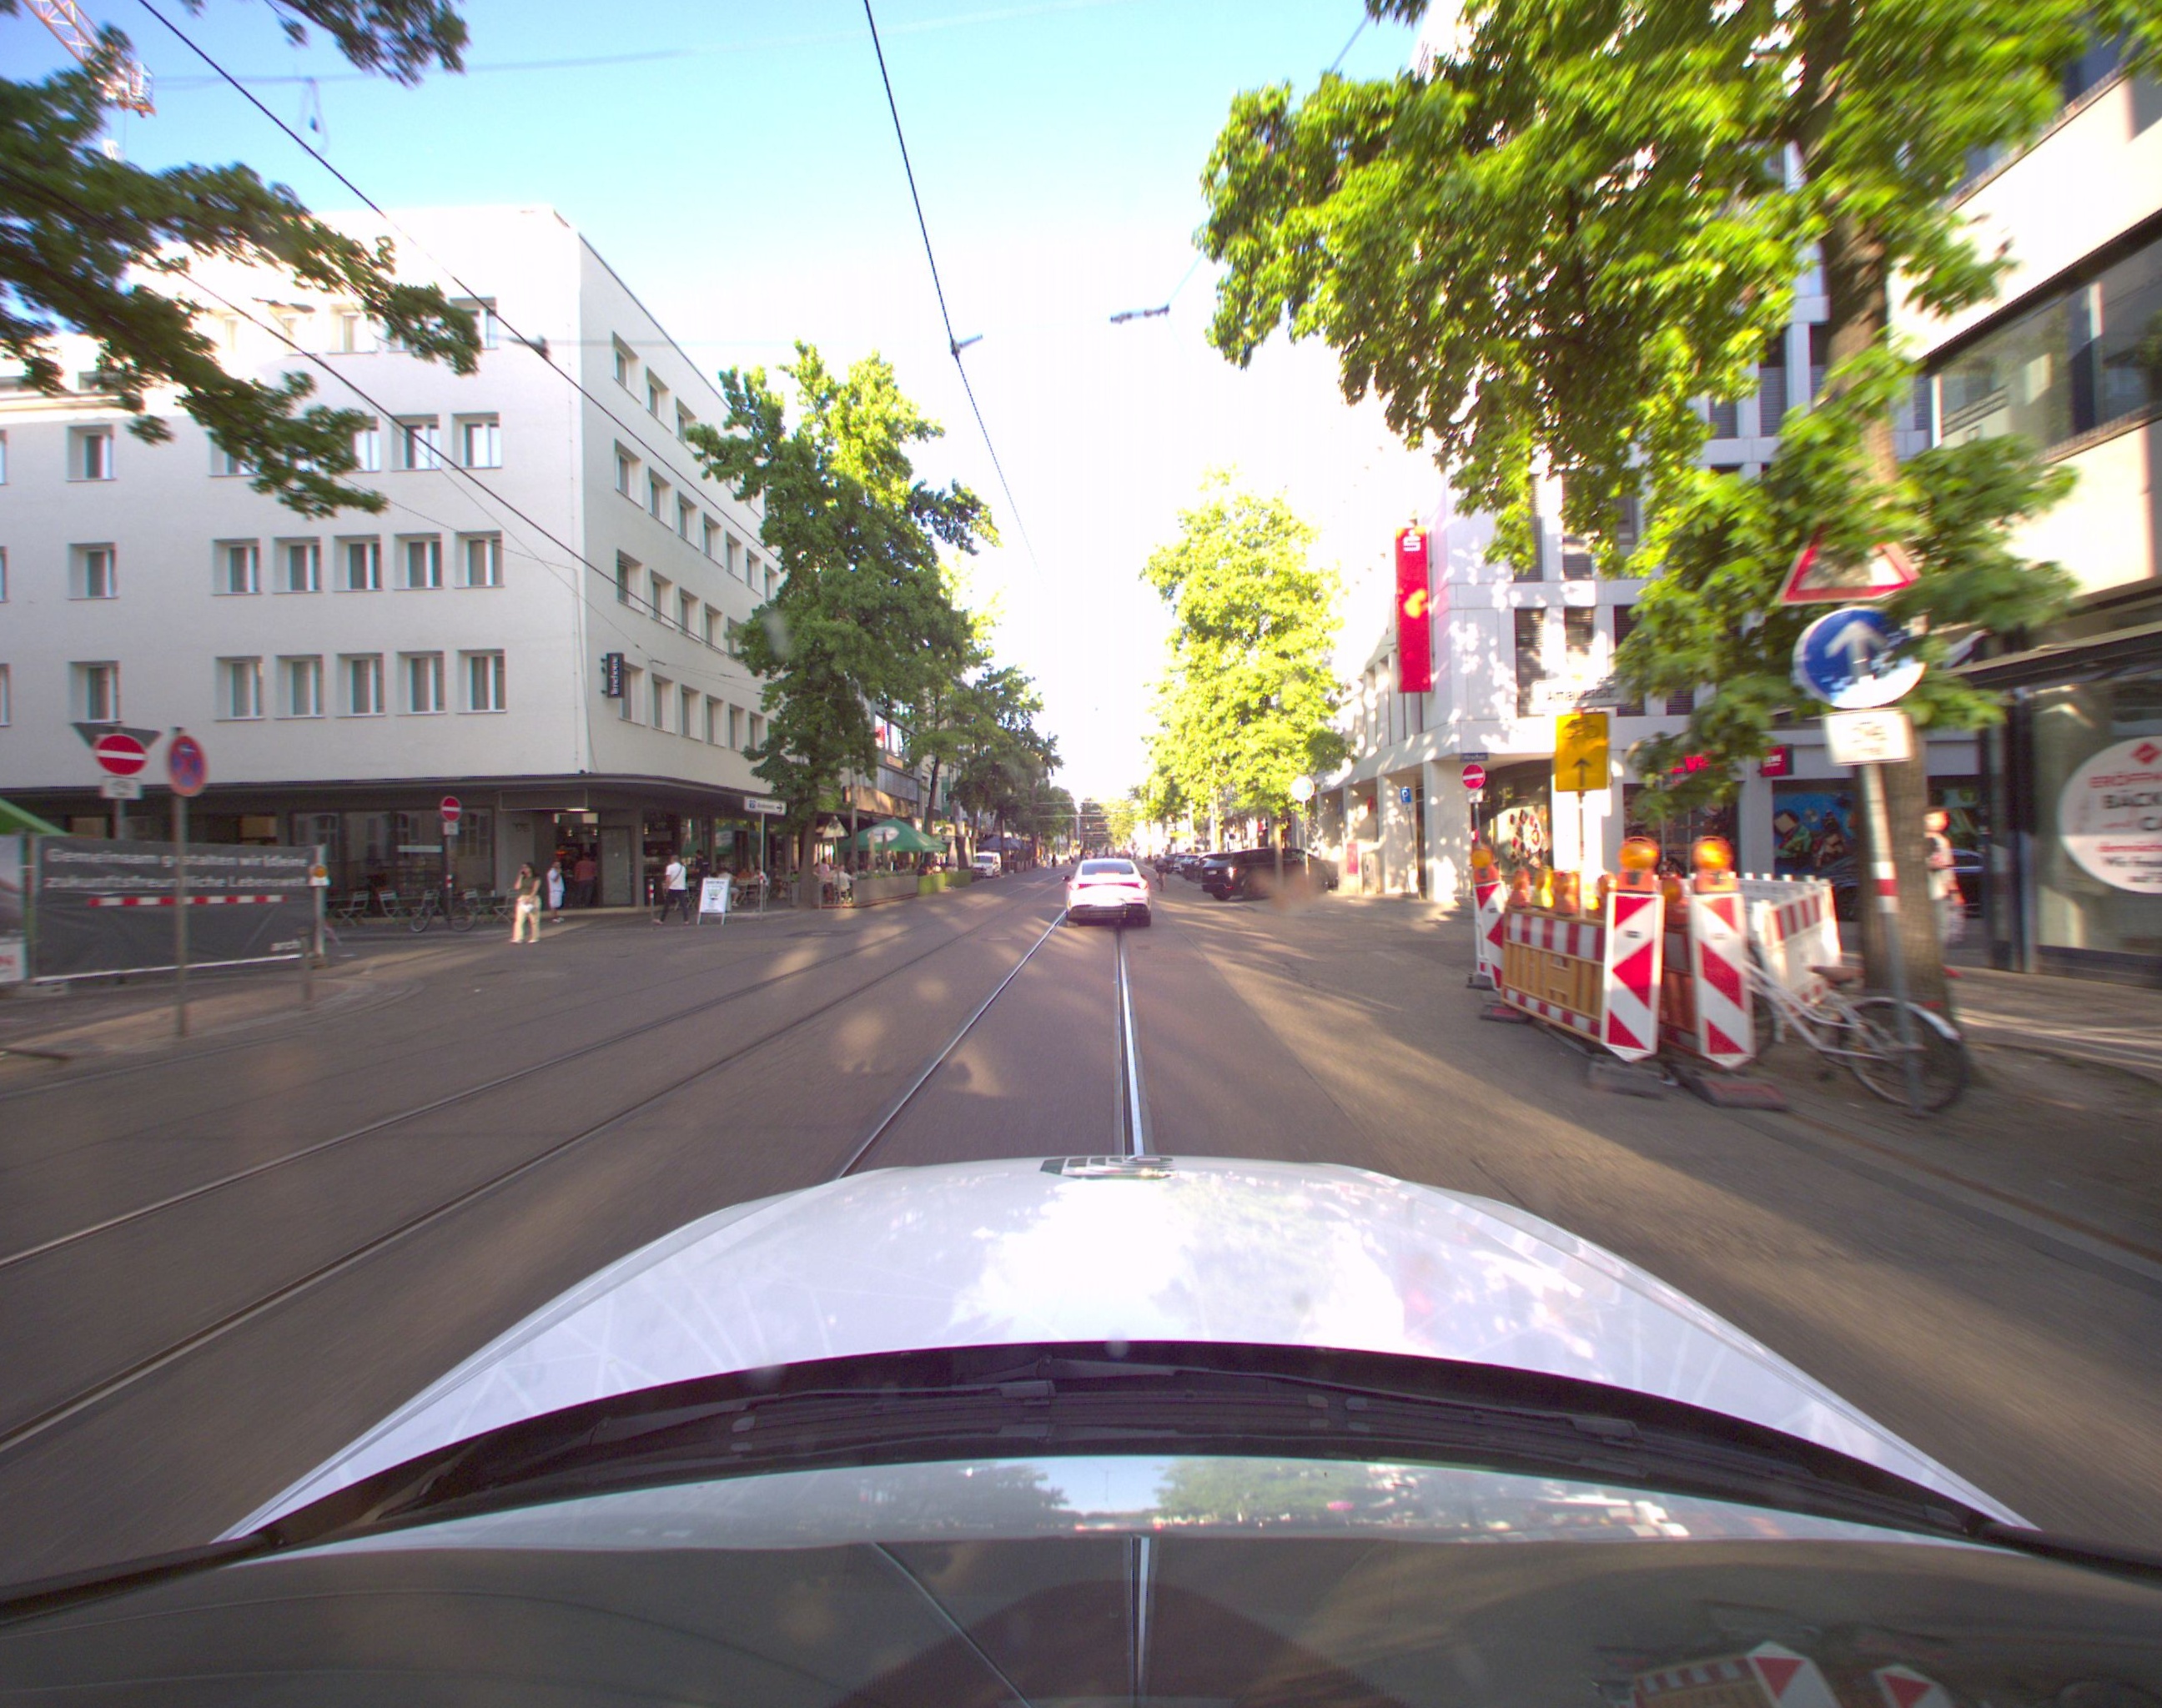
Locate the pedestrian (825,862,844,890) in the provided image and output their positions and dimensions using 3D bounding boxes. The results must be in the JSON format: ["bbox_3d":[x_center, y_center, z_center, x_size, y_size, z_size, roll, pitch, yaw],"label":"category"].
[{"bbox_3d":[-11.627,1.027,38.451,0.616,1.309,0.697,2,0,1],"label":"pedestrian"}]

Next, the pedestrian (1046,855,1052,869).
[{"bbox_3d":[-3.403,0.870,86.370,0.620,1.509,0.834,1,0,3],"label":"pedestrian"}]

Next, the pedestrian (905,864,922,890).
[{"bbox_3d":[-8.168,1.101,39.711,0.616,1.245,0.697,2,0,1],"label":"pedestrian"}]

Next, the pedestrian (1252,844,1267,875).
[{"bbox_3d":[10.125,0.303,46.182,0.679,1.696,0.548,-1,0,-11],"label":"pedestrian"}]

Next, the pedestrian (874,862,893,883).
[{"bbox_3d":[-11.282,1.046,46.603,0.750,1.188,1.065,2,0,1],"label":"pedestrian"}]

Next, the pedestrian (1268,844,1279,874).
[{"bbox_3d":[10.982,0.289,46.514,0.514,1.696,0.551,-1,0,6],"label":"pedestrian"}]

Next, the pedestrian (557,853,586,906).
[{"bbox_3d":[-15.786,0.791,25.233,0.399,1.604,0.625,-1,0,36],"label":"pedestrian"}]

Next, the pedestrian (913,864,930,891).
[{"bbox_3d":[-7.570,1.112,38.757,0.616,1.245,0.697,2,0,1],"label":"pedestrian"}]

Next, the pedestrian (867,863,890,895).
[{"bbox_3d":[-8.588,1.046,34.540,0.704,1.347,0.782,0,0,4],"label":"pedestrian"}]

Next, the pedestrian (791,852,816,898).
[{"bbox_3d":[-10.721,0.801,31.460,0.675,1.757,0.697,0,0,3],"label":"pedestrian"}]

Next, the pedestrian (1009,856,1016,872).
[{"bbox_3d":[-6.100,0.902,72.995,0.547,1.356,0.583,0,0,1],"label":"pedestrian"}]

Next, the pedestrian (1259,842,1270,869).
[{"bbox_3d":[12.273,0.100,54.462,0.555,1.750,0.525,-4,0,2],"label":"pedestrian"}]

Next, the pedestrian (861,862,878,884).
[{"bbox_3d":[-11.376,1.032,43.834,0.697,1.168,0.788,2,0,1],"label":"pedestrian"}]

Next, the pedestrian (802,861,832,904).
[{"bbox_3d":[-8.815,0.948,27.211,0.686,1.386,0.807,0,0,3],"label":"pedestrian"}]

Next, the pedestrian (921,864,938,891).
[{"bbox_3d":[-7.377,1.135,39.633,0.616,1.245,0.697,2,0,1],"label":"pedestrian"}]

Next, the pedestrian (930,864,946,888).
[{"bbox_3d":[-8.048,1.234,45.828,0.654,1.293,0.798,2,0,1],"label":"pedestrian"}]

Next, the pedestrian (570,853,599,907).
[{"bbox_3d":[-14.958,0.770,24.552,0.399,1.604,0.625,-1,0,36],"label":"pedestrian"}]

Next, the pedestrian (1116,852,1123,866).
[{"bbox_3d":[4.967,0.596,104.389,0.838,1.801,0.791,0,0,3],"label":"pedestrian"}]

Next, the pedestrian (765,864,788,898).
[{"bbox_3d":[-11.910,1.047,31.884,0.599,1.298,0.687,0,0,3],"label":"pedestrian"}]

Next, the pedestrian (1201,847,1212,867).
[{"bbox_3d":[11.182,0.275,72.598,0.680,1.731,0.636,-4,0,44],"label":"pedestrian"}]

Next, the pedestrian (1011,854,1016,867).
[{"bbox_3d":[-8.046,0.827,97.186,0.595,1.533,0.672,0,0,3],"label":"pedestrian"}]

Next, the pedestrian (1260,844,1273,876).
[{"bbox_3d":[10.594,0.330,46.489,0.521,1.750,0.559,-4,0,4],"label":"pedestrian"}]

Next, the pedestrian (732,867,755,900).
[{"bbox_3d":[-12.274,1.074,29.629,0.550,1.161,0.687,0,0,3],"label":"pedestrian"}]

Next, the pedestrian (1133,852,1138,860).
[{"bbox_3d":[12.115,0.433,180.697,0.957,1.785,0.804,-3,0,1],"label":"pedestrian"}]

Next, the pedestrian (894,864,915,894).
[{"bbox_3d":[-7.757,1.090,35.781,0.704,1.259,0.773,0,0,4],"label":"pedestrian"}]

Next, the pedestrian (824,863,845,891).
[{"bbox_3d":[-11.219,1.060,37.073,0.667,1.242,0.799,0,0,1],"label":"pedestrian"}]

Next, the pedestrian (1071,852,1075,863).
[{"bbox_3d":[-1.463,0.598,148.634,0.536,1.929,0.574,-2,0,5],"label":"pedestrian"}]

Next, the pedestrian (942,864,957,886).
[{"bbox_3d":[-7.421,1.184,45.965,0.654,1.244,0.873,2,0,1],"label":"pedestrian"}]

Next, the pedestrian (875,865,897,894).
[{"bbox_3d":[-8.587,1.107,35.893,0.704,1.259,0.870,0,0,4],"label":"pedestrian"}]

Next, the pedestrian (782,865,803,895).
[{"bbox_3d":[-11.595,1.042,32.726,0.550,1.161,0.687,0,0,3],"label":"pedestrian"}]

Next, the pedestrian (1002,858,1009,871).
[{"bbox_3d":[-6.888,0.942,74.333,0.493,1.228,0.535,0,0,1],"label":"pedestrian"}]

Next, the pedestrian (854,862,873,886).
[{"bbox_3d":[-11.363,1.029,42.637,0.733,1.214,0.788,2,0,1],"label":"pedestrian"}]

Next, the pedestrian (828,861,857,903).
[{"bbox_3d":[-7.963,0.931,27.239,0.686,1.386,0.807,0,0,3],"label":"pedestrian"}]

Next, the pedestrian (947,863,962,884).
[{"bbox_3d":[-7.266,1.109,46.821,0.654,1.193,0.798,2,0,1],"label":"pedestrian"}]

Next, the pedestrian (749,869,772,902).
[{"bbox_3d":[-11.697,1.137,29.735,0.550,1.161,0.687,0,0,3],"label":"pedestrian"}]

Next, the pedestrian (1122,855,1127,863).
[{"bbox_3d":[9.990,1.195,187.081,0.957,1.785,0.804,-3,0,1],"label":"pedestrian"}]

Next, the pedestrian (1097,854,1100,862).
[{"bbox_3d":[4.293,0.941,196.996,0.797,1.782,0.849,0,0,1],"label":"pedestrian"}]

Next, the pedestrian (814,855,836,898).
[{"bbox_3d":[-9.914,0.861,31.585,0.616,1.670,0.697,0,0,1],"label":"pedestrian"}]

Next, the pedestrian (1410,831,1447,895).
[{"bbox_3d":[10.314,0.259,24.145,0.746,1.818,0.808,-5,-2,35],"label":"pedestrian"}]

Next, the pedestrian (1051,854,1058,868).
[{"bbox_3d":[-2.849,0.761,87.316,0.620,1.550,0.853,1,0,3],"label":"pedestrian"}]

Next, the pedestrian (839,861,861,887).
[{"bbox_3d":[-11.496,1.004,40.612,0.774,1.237,0.945,2,0,1],"label":"pedestrian"}]

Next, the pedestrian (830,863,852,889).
[{"bbox_3d":[-11.601,1.049,39.373,0.733,1.232,0.788,2,0,1],"label":"pedestrian"}]
